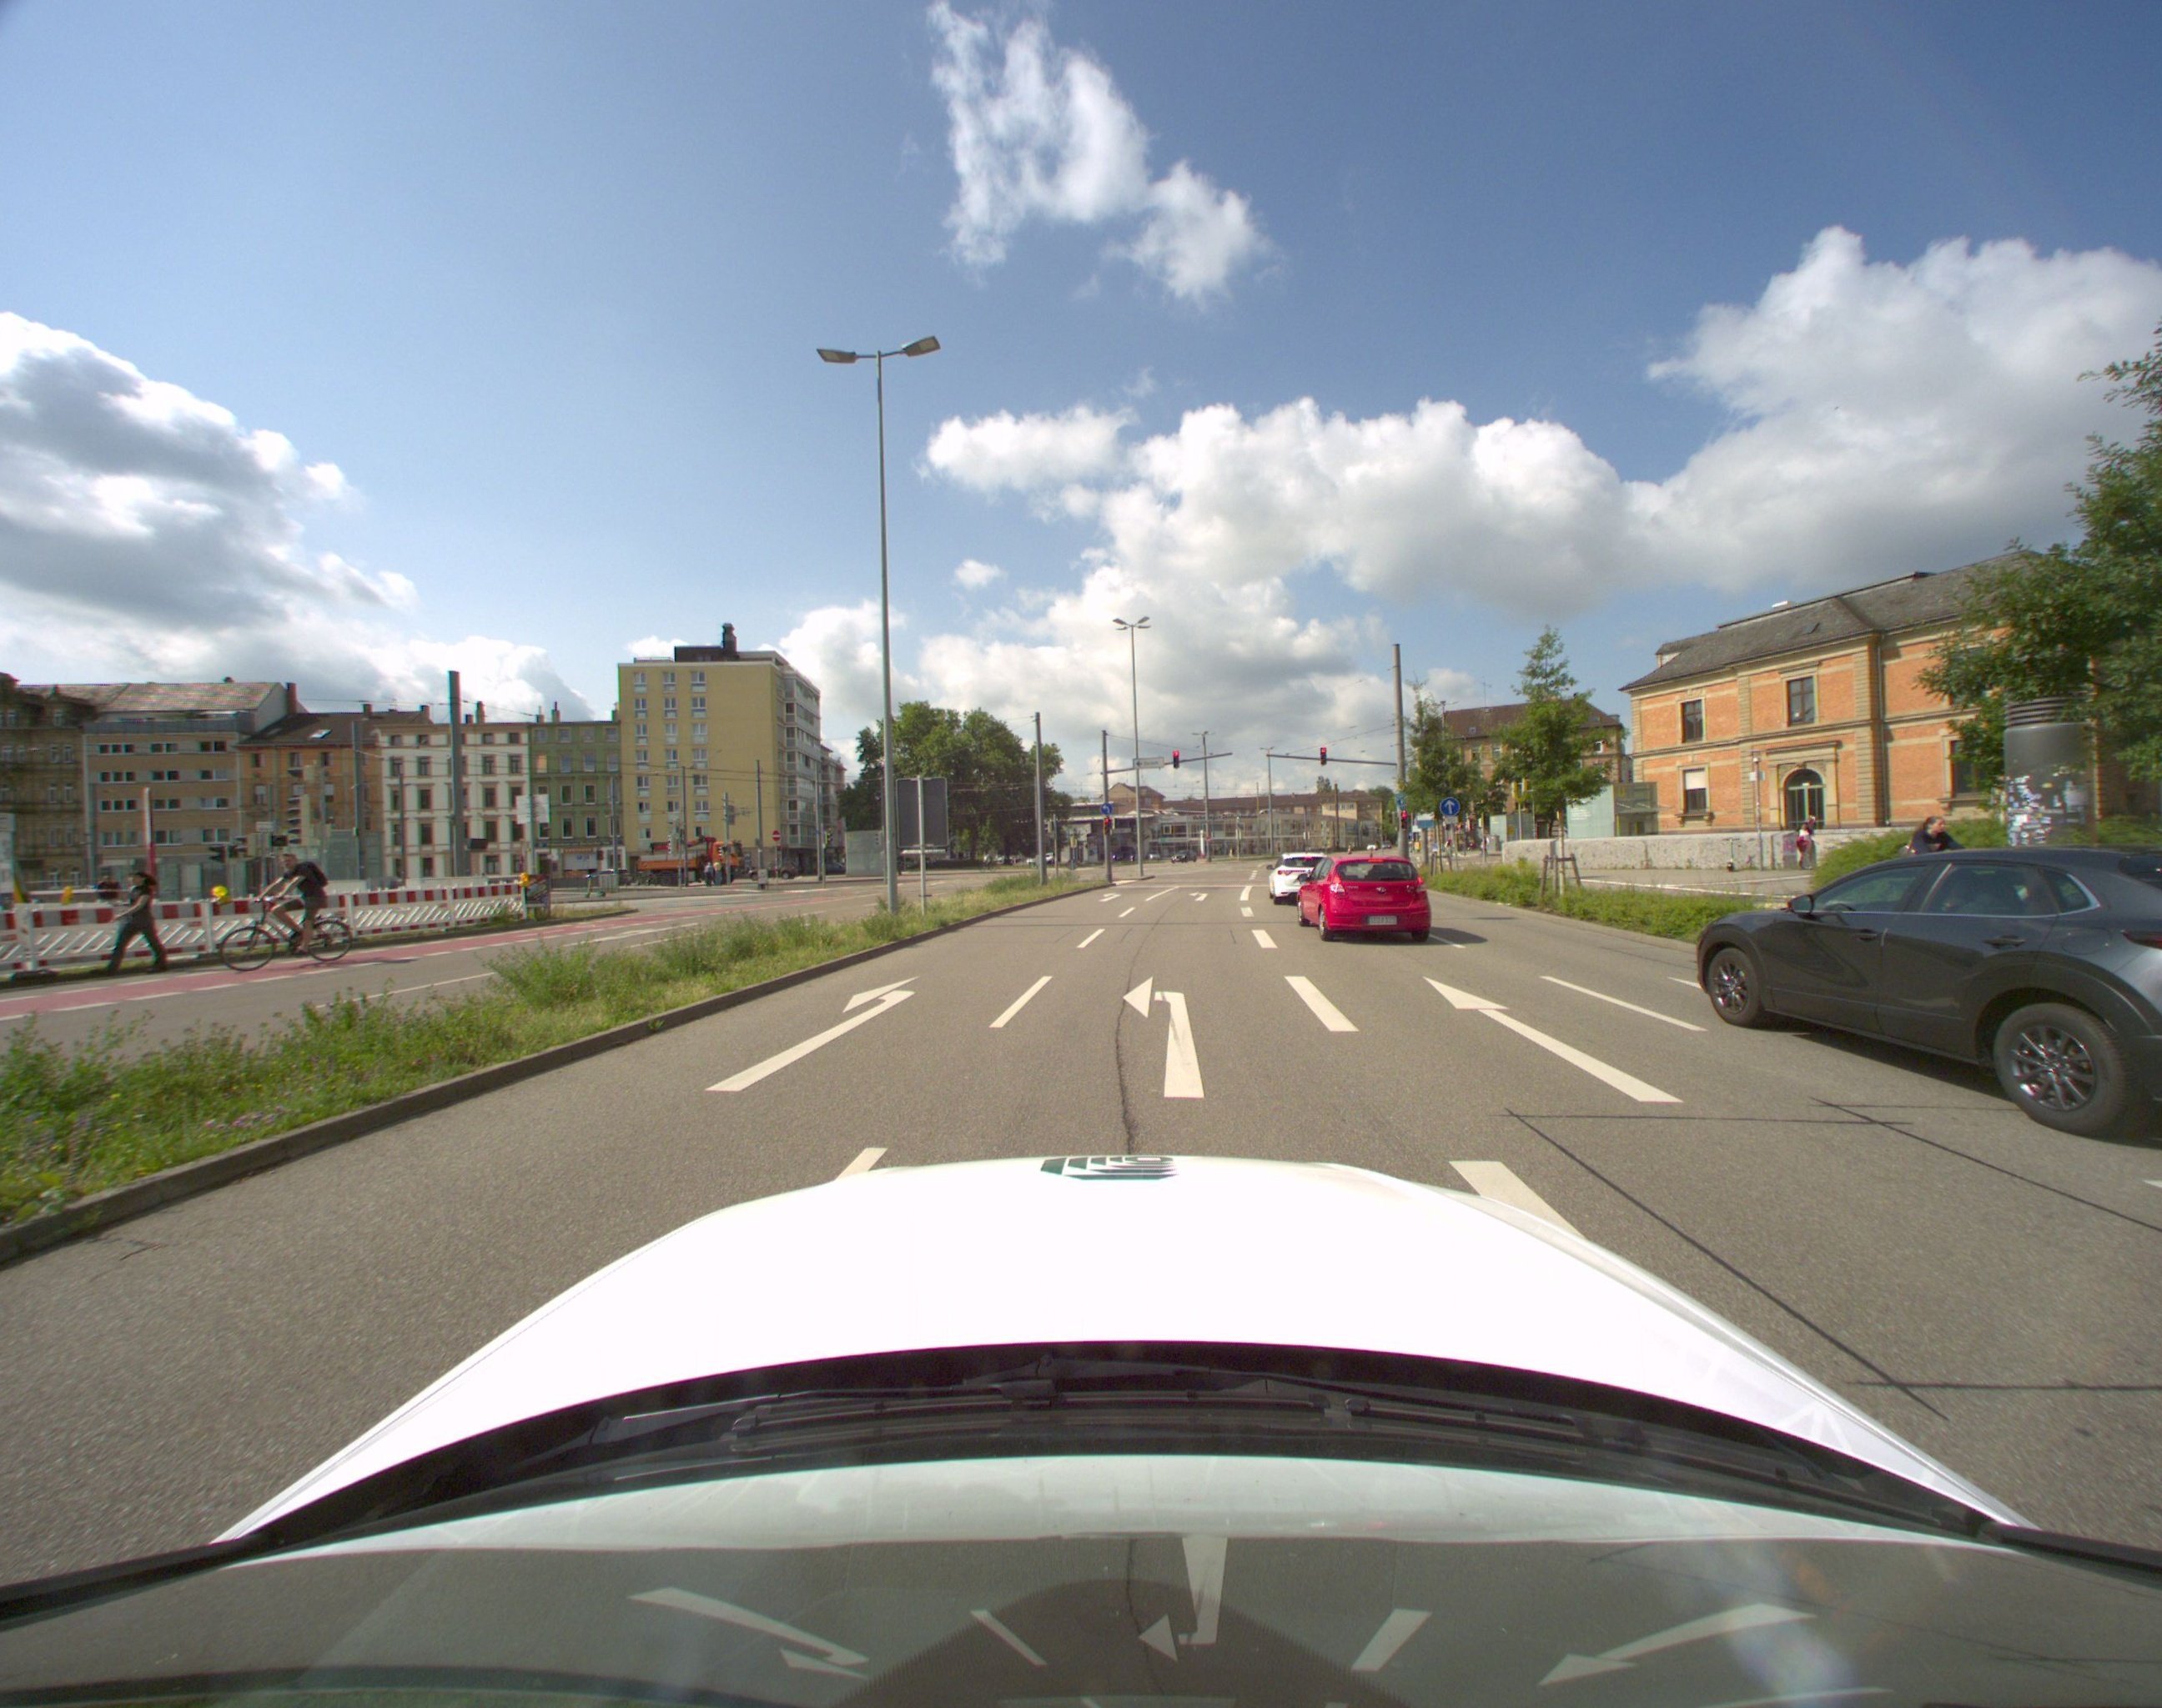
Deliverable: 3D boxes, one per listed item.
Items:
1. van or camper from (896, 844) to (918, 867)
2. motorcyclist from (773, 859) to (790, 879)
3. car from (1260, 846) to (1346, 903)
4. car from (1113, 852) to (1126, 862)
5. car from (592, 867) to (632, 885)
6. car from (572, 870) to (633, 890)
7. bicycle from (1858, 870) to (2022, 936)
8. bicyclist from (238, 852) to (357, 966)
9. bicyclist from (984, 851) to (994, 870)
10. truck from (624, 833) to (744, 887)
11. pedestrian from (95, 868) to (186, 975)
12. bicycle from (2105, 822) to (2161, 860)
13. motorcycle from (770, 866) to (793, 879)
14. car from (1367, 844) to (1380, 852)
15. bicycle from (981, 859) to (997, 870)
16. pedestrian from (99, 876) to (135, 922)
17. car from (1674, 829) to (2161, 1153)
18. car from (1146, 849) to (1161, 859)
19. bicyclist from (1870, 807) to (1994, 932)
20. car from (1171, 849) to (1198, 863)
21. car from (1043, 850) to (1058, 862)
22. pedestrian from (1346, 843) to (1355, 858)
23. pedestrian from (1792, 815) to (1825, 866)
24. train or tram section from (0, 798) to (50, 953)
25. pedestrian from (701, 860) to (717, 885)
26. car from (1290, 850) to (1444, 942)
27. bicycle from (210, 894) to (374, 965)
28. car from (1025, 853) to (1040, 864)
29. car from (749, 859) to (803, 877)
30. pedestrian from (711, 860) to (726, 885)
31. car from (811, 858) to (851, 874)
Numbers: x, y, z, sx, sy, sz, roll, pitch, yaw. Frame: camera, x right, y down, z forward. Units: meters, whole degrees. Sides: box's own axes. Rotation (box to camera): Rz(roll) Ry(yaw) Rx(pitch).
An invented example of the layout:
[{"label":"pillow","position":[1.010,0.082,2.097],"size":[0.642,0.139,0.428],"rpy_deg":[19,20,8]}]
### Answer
[{"label":"van or camper","position":[-22.657,0.205,106.081],"size":[2.583,2.908,6.073],"rpy_deg":[-2,0,-12]},{"label":"motorcyclist","position":[-27.783,1.401,75.615],"size":[0.881,1.782,1.247],"rpy_deg":[-2,0,15]},{"label":"car","position":[6.389,0.538,23.835],"size":[1.837,1.472,4.345],"rpy_deg":[-2,0,8]},{"label":"car","position":[6.288,0.459,133.607],"size":[1.985,1.552,4.082],"rpy_deg":[-2,0,3]},{"label":"car","position":[-43.010,2.011,74.632],"size":[3.629,1.501,1.708],"rpy_deg":[-2,0,33]},{"label":"car","position":[-41.237,2.237,70.256],"size":[4.062,1.508,1.810],"rpy_deg":[2,0,-6]},{"label":"bicycle","position":[12.384,0.682,11.827],"size":[0.621,0.811,1.793],"rpy_deg":[-3,0,8]},{"label":"bicyclist","position":[-13.189,0.891,13.748],"size":[0.806,1.822,1.161],"rpy_deg":[-2,0,6]},{"label":"bicyclist","position":[-9.281,0.678,82.207],"size":[0.886,1.871,0.761],"rpy_deg":[-2,0,-12]},{"label":"truck","position":[-30.578,0.426,63.049],"size":[7.909,3.856,2.194],"rpy_deg":[-2,0,-8]},{"label":"pedestrian","position":[-15.368,1.079,13.318],"size":[0.732,1.681,0.642],"rpy_deg":[-2,0,6]},{"label":"bicycle","position":[31.032,-0.381,23.306],"size":[0.667,1.072,2.054],"rpy_deg":[-2,0,-25]},{"label":"motorcycle","position":[-27.765,1.709,75.563],"size":[0.775,1.115,2.445],"rpy_deg":[-2,0,15]},{"label":"car","position":[56.897,-1.240,158.329],"size":[1.975,1.442,4.024],"rpy_deg":[-2,0,27]},{"label":"bicycle","position":[-9.276,1.067,82.237],"size":[1.466,1.117,0.585],"rpy_deg":[-2,0,-12]},{"label":"pedestrian","position":[-38.895,1.807,32.859],"size":[0.953,1.796,0.809],"rpy_deg":[-2,0,36]},{"label":"car","position":[6.171,0.631,5.456],"size":[1.795,1.508,4.215],"rpy_deg":[-1,-1,9]},{"label":"car","position":[11.958,0.027,133.851],"size":[1.988,1.596,3.998],"rpy_deg":[-2,0,-1]},{"label":"bicyclist","position":[12.405,0.217,11.909],"size":[0.732,1.702,0.967],"rpy_deg":[-4,0,8]},{"label":"car","position":[12.152,0.238,95.281],"size":[1.975,1.530,4.023],"rpy_deg":[-2,0,24]},{"label":"car","position":[-5.077,0.296,136.655],"size":[1.984,2.013,4.005],"rpy_deg":[-2,0,4]},{"label":"pedestrian","position":[28.869,-0.357,87.219],"size":[0.677,1.535,0.668],"rpy_deg":[-2,0,-30]},{"label":"pedestrian","position":[24.923,-0.461,27.896],"size":[0.886,1.687,0.756],"rpy_deg":[-2,0,-45]},{"label":"train or tram section","position":[-29.400,0.637,15.217],"size":[2.634,3.572,12.493],"rpy_deg":[-2,0,39]},{"label":"pedestrian","position":[-27.884,1.396,61.045],"size":[0.694,1.860,0.821],"rpy_deg":[-2,0,10]},{"label":"car","position":[5.085,0.669,15.044],"size":[1.807,1.439,4.075],"rpy_deg":[-1,0,6]},{"label":"bicycle","position":[-13.166,1.225,13.686],"size":[0.613,1.002,2.022],"rpy_deg":[-2,0,7]},{"label":"car","position":[-8.166,0.712,137.476],"size":[1.789,1.769,4.005],"rpy_deg":[-2,0,4]},{"label":"car","position":[-27.034,1.234,72.255],"size":[4.062,1.508,1.810],"rpy_deg":[-2,0,-6]},{"label":"pedestrian","position":[-27.112,1.366,60.904],"size":[0.646,1.868,0.783],"rpy_deg":[-2,0,10]},{"label":"car","position":[-27.881,1.368,91.072],"size":[3.987,1.662,1.993],"rpy_deg":[-2,0,-10]}]
